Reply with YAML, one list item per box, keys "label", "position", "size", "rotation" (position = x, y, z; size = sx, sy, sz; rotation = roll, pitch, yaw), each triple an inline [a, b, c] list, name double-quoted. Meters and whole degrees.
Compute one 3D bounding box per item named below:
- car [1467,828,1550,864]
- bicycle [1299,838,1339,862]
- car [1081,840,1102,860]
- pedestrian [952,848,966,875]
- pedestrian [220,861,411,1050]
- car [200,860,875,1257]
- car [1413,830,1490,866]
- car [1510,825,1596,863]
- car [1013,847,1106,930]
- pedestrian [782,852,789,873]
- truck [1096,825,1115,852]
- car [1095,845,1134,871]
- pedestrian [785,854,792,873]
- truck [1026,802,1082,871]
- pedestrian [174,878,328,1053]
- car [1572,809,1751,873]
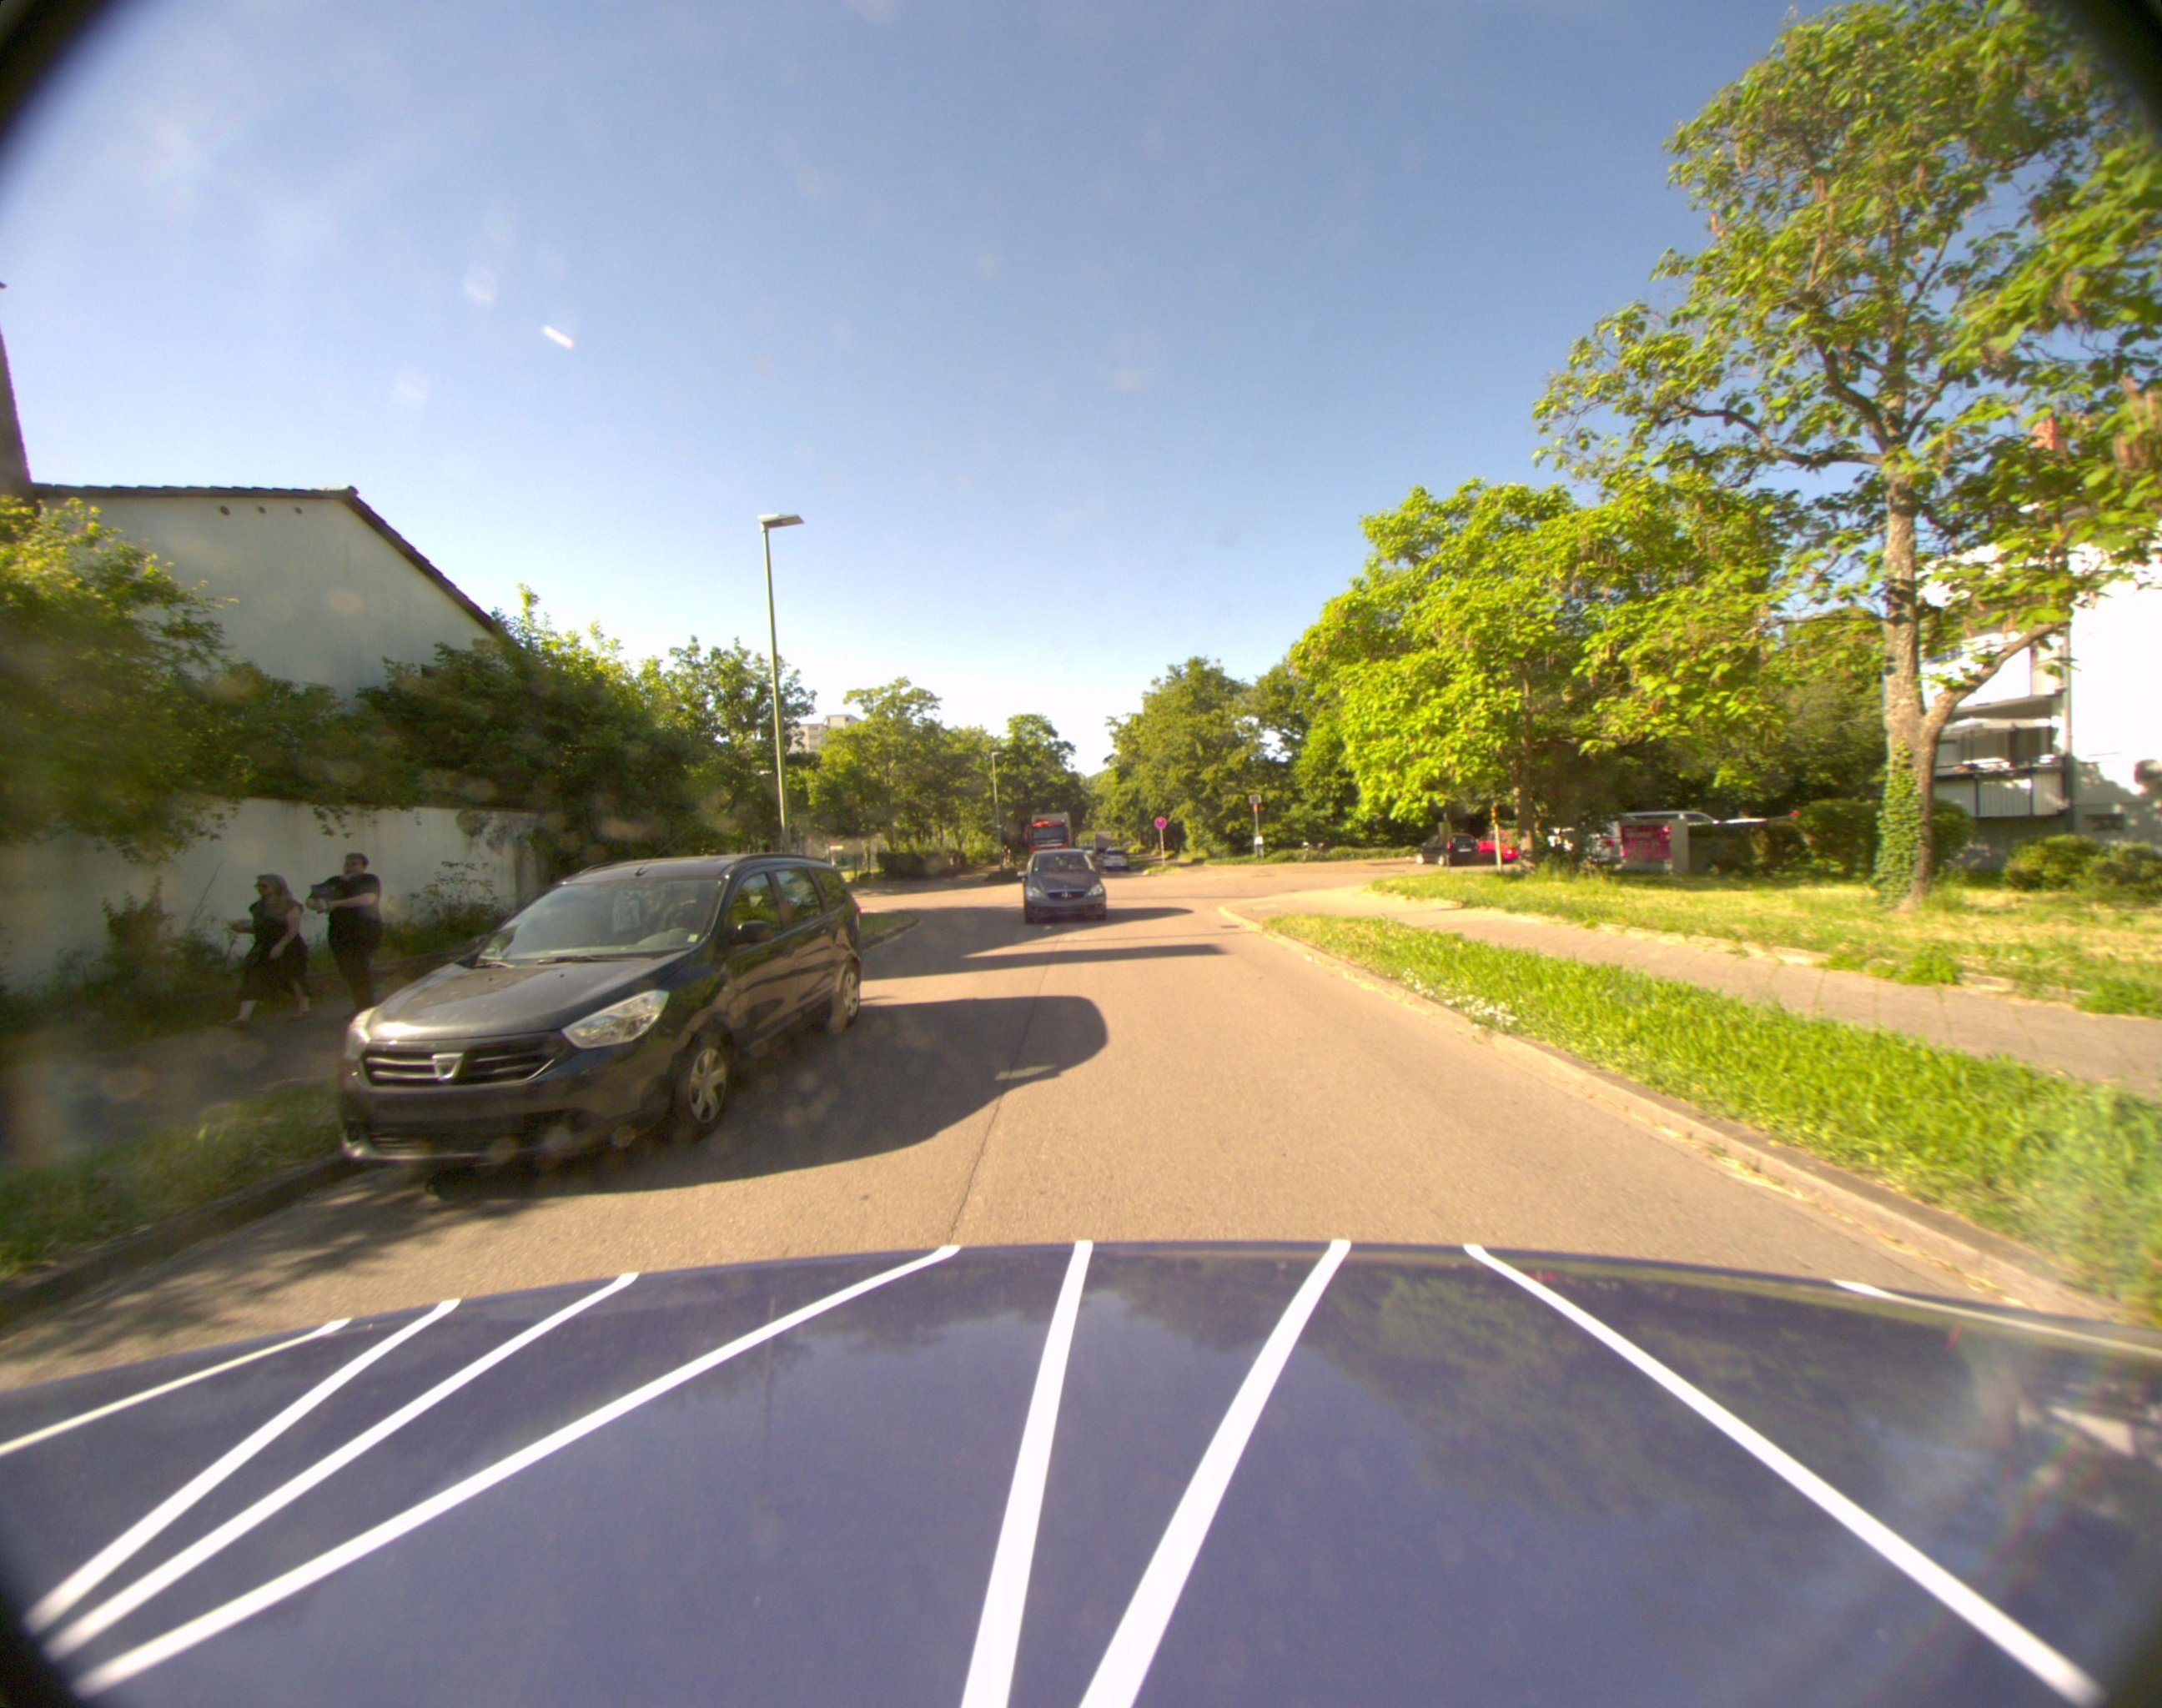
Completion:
- label: "car"
  position: [19.775, -0.433, 35.361]
  size: [1.674, 1.479, 3.883]
  rotation: [-3, 2, 0]
- label: "bicycle"
  position: [12.555, -0.213, 40.111]
  size: [1.902, 1.146, 0.760]
  rotation: [-2, 5, 11]
- label: "car"
  position: [1.012, -0.424, 75.786]
  size: [1.845, 1.795, 4.028]
  rotation: [-3, 1, 0]
- label: "pedestrian"
  position: [-7.631, 0.467, 47.561]
  size: [0.641, 1.629, 0.641]
  rotation: [-3, 1, 4]
- label: "pedestrian"
  position: [-7.547, 0.954, 7.559]
  size: [0.806, 1.707, 0.983]
  rotation: [-1, 3, -3]
- label: "car"
  position: [-3.037, 0.948, 5.604]
  size: [1.729, 1.647, 4.352]
  rotation: [-3, 1, 1]
- label: "car"
  position: [17.074, -0.305, 35.236]
  size: [1.674, 1.479, 3.883]
  rotation: [-3, 2, 0]
- label: "car"
  position: [22.152, -0.517, 35.837]
  size: [1.674, 1.594, 3.883]
  rotation: [-3, 2, 0]
- label: "car"
  position: [-0.419, 0.710, 17.632]
  size: [1.855, 1.635, 3.755]
  rotation: [-3, 1, 1]
- label: "pedestrian"
  position: [-22.331, 0.629, 57.441]
  size: [0.320, 1.527, 0.393]
  rotation: [-3, 1, -3]
- label: "truck"
  position: [3.729, -2.511, 118.784]
  size: [2.803, 3.996, 9.623]
  rotation: [-1, 2, 1]
- label: "car"
  position: [2.108, 0.204, 48.642]
  size: [1.667, 1.458, 4.184]
  rotation: [-1, 2, -9]
- label: "pedestrian"
  position: [-22.981, 0.744, 59.763]
  size: [0.317, 1.527, 0.401]
  rotation: [-3, 1, -3]
- label: "truck"
  position: [-1.705, -1.217, 54.475]
  size: [3.166, 4.320, 10.582]
  rotation: [-3, 1, 2]
- label: "pedestrian"
  position: [-8.260, 1.075, 7.602]
  size: [0.574, 1.600, 0.792]
  rotation: [-1, 3, -3]
- label: "car"
  position: [19.840, -0.413, 26.156]
  size: [4.461, 1.958, 2.069]
  rotation: [-2, 0, 4]
